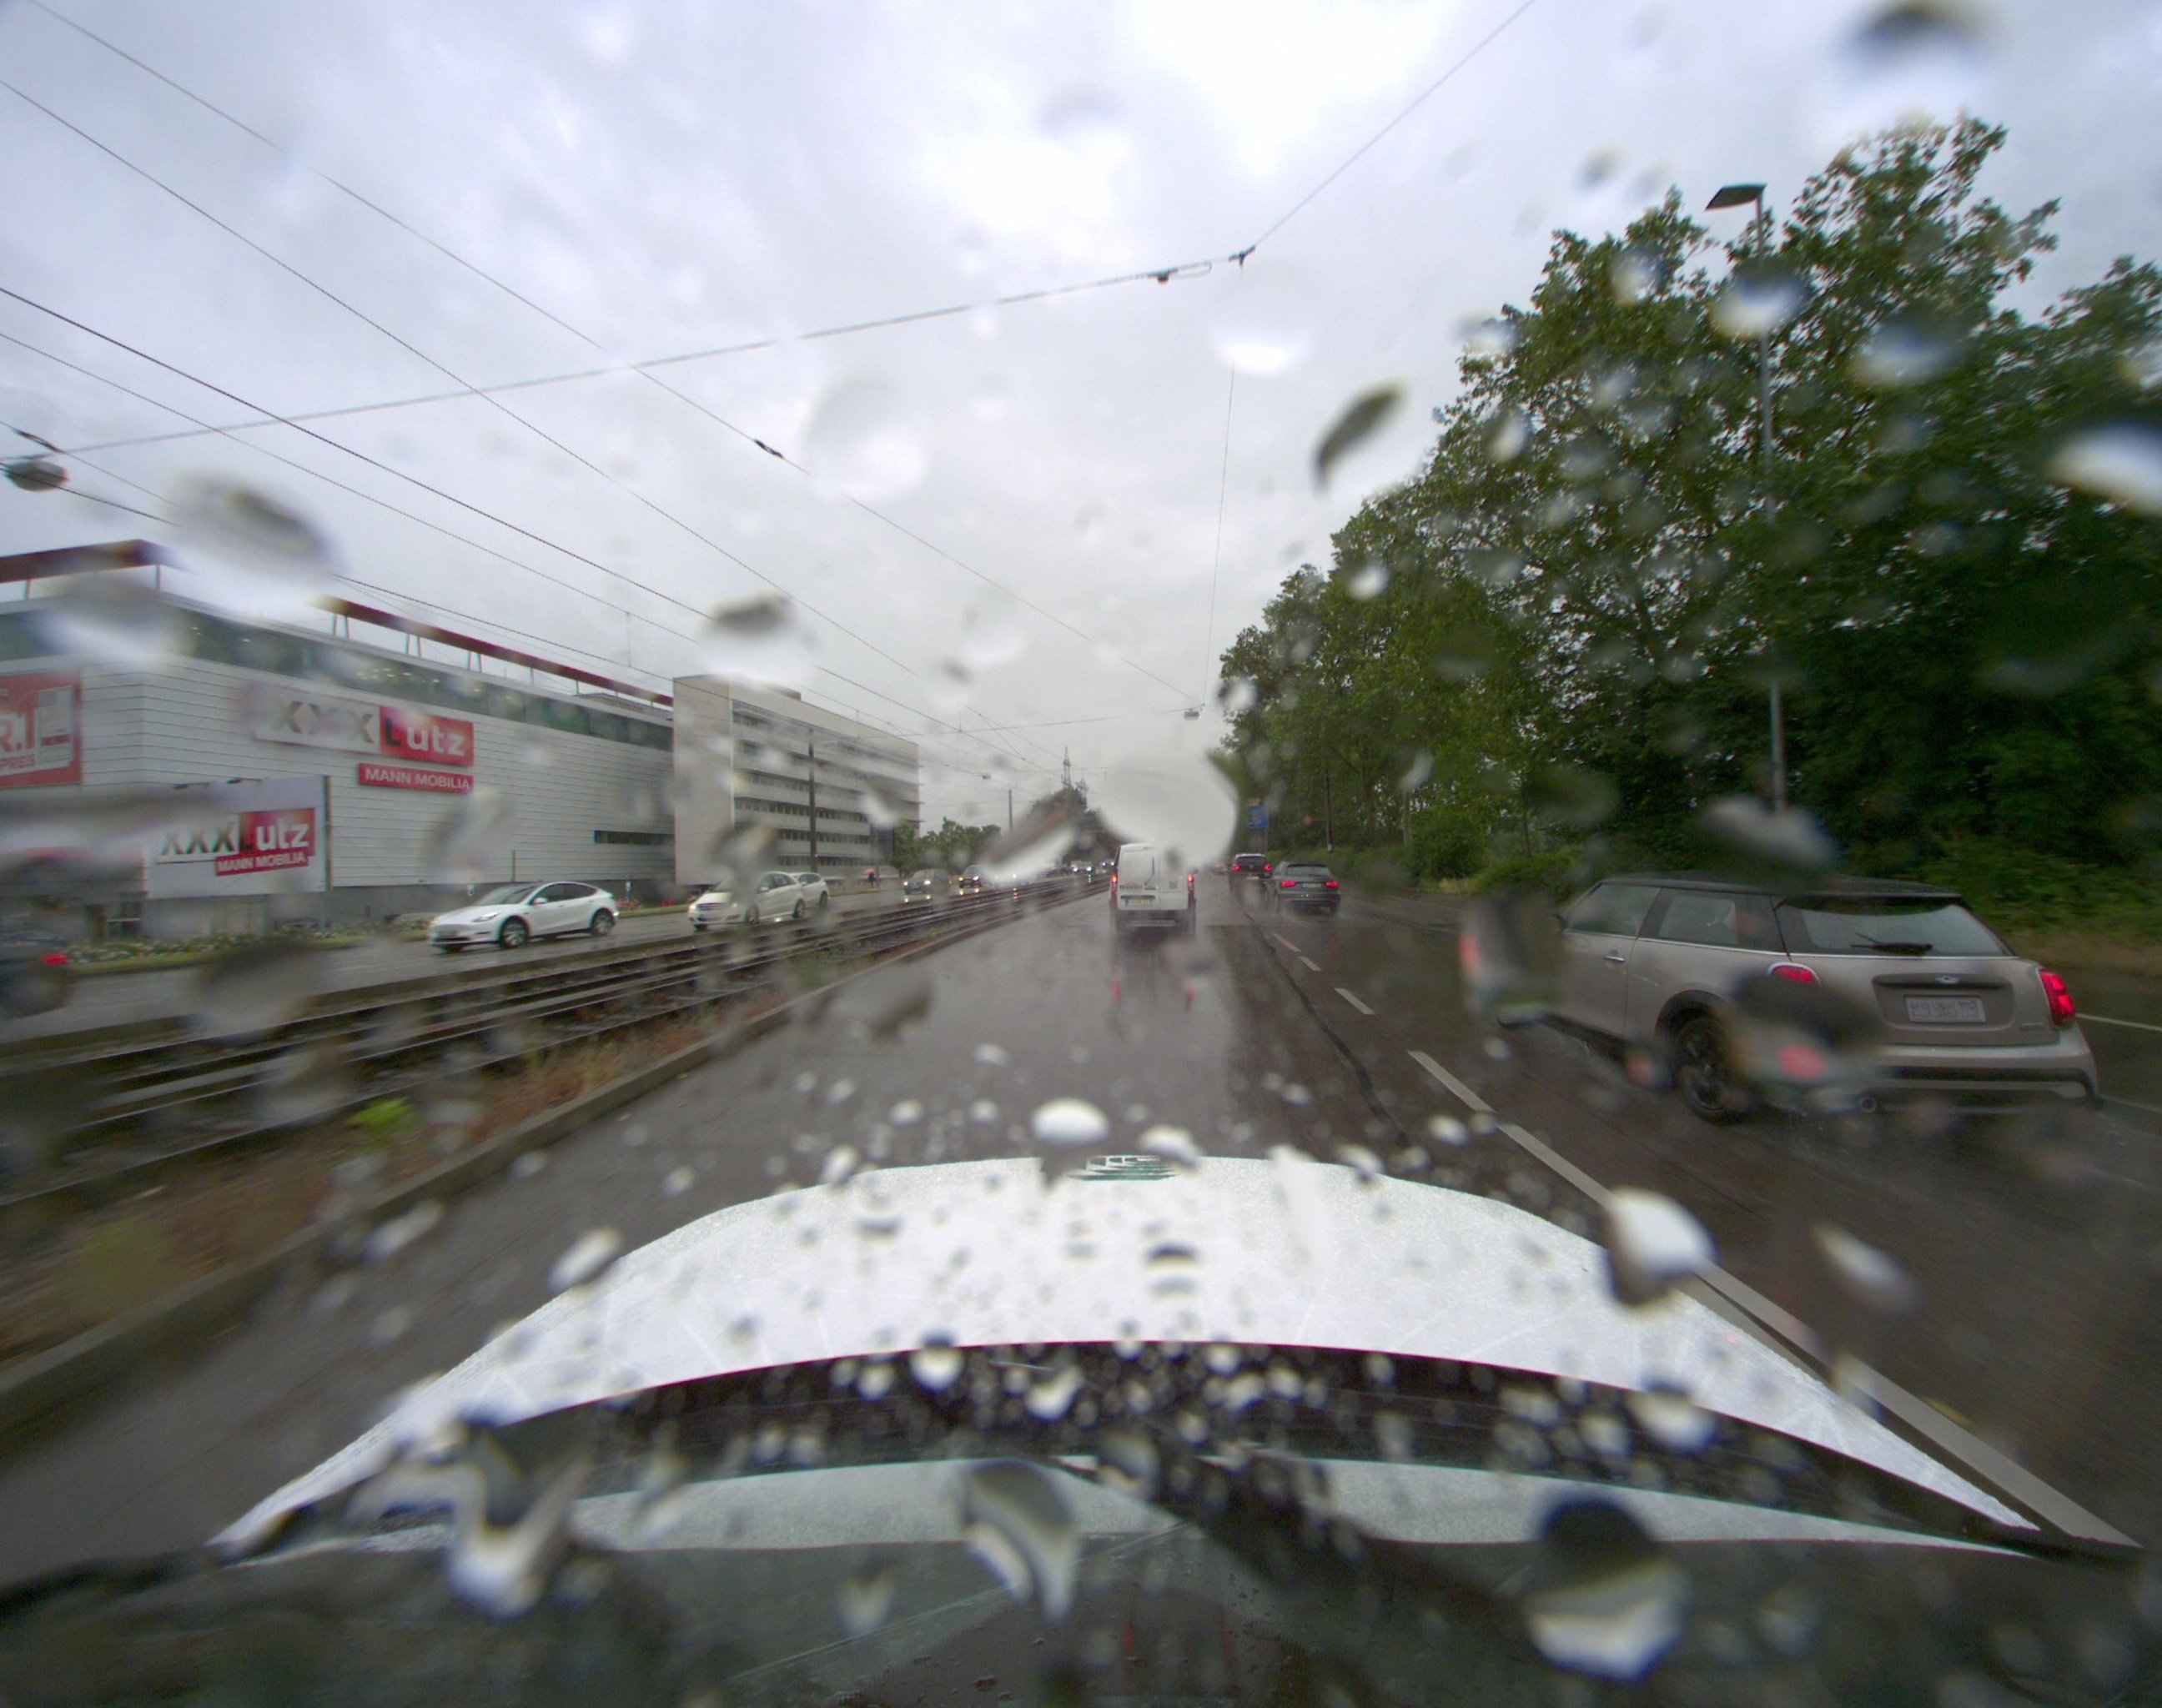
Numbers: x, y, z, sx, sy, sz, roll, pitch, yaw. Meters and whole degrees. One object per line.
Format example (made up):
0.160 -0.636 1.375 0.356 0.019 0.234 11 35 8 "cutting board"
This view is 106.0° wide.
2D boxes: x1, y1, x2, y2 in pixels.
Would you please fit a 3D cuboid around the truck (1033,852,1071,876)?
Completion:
-3.026 1.083 87.748 2.419 2.458 7.243 0 0 12 "truck"

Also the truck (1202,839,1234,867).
14.316 -0.075 85.476 3.095 2.773 6.344 -1 0 8 "truck"

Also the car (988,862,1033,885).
-4.831 1.326 56.478 1.982 1.457 4.683 -4 -1 9 "car"

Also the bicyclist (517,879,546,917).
-23.714 1.900 35.157 0.667 1.589 0.794 0 0 9 "bicyclist"

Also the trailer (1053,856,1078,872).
-1.773 1.184 93.571 2.105 1.793 3.848 0 0 11 "trailer"

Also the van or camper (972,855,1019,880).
-7.040 1.083 67.981 2.290 2.014 5.703 0 0 11 "van or camper"

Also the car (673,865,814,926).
-10.096 1.171 24.753 1.861 1.573 4.341 0 1 10 "car"

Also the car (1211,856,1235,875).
11.645 0.925 66.860 1.807 1.414 3.788 -1 0 9 "car"

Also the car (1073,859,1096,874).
0.419 1.338 88.745 1.847 1.494 4.701 -3 -1 9 "car"

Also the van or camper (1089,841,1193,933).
1.373 0.609 17.712 1.983 1.784 4.007 0 1 6 "van or camper"

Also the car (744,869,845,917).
-12.177 1.616 34.991 1.981 1.834 4.705 -2 -1 10 "car"

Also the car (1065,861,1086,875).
-0.626 1.747 101.553 1.760 1.682 4.703 0 0 11 "car"

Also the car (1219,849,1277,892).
7.212 0.663 35.588 1.891 1.717 4.731 -1 0 4 "car"

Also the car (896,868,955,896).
-9.449 1.694 49.982 1.951 1.516 4.567 -4 -1 10 "car"

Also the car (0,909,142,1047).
-13.153 1.449 7.831 1.911 1.423 5.098 0 1 10 "car"

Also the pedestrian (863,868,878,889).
-18.392 2.154 71.107 0.817 1.763 1.053 1 -1 11 "pedestrian"

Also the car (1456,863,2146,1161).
4.413 0.800 5.935 1.783 1.414 3.857 1 -1 3 "car"

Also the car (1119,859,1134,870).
7.379 1.706 131.865 1.808 1.623 4.547 -2 -1 9 "car"

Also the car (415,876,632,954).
-14.339 1.475 21.398 1.897 1.606 4.853 1 1 8 "car"

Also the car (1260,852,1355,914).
6.203 0.742 22.736 1.957 1.528 3.999 -1 0 7 "car"

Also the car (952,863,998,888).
-7.665 1.518 59.284 1.846 1.618 4.922 -3 -1 11 "car"

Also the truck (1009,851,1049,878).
-4.939 0.997 77.870 2.212 2.462 6.087 0 0 12 "truck"
